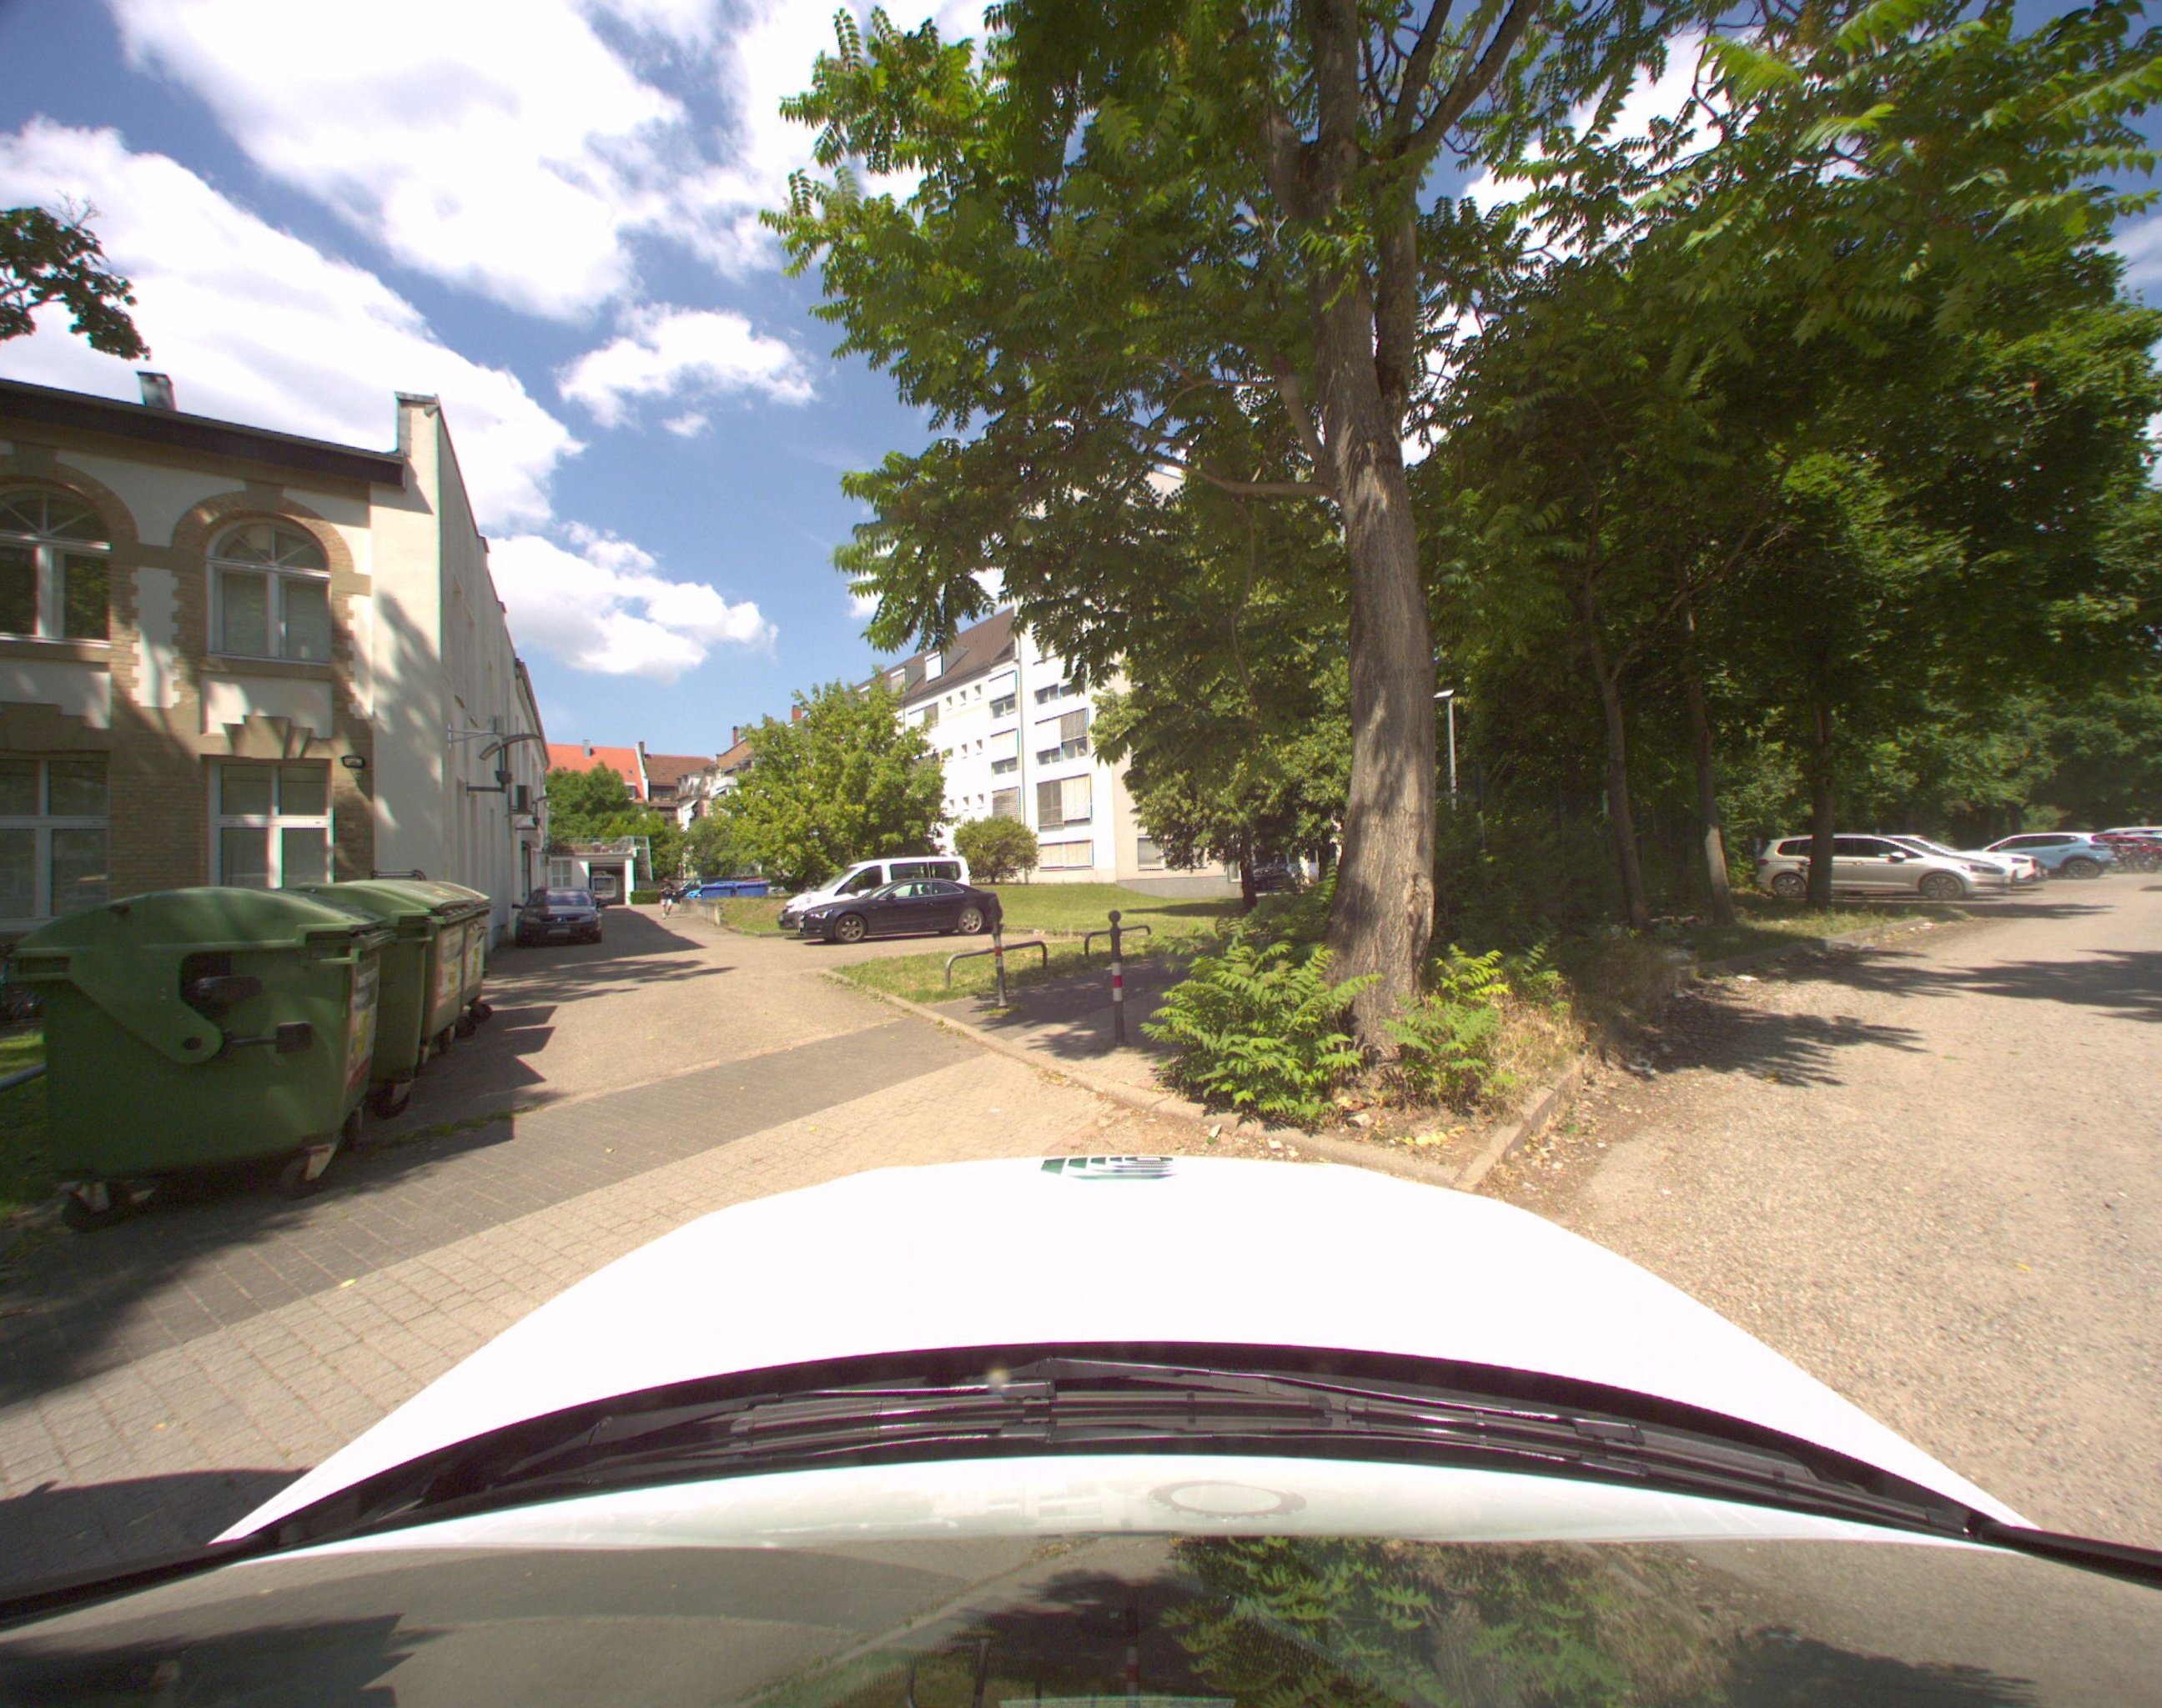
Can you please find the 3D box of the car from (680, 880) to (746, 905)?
[{"bbox_3d":[-26.229,2.693,58.020,4.016,1.534,1.785,-2,-1,-34],"label":"car"}]

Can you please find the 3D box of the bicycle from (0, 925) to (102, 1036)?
[{"bbox_3d":[-12.237,1.427,9.289,0.609,1.082,2.238,-1,-1,-30],"label":"bicycle"}]

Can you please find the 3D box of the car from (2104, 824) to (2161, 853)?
[{"bbox_3d":[63.668,-0.944,47.688,1.732,1.598,4.474,-2,-1,-32],"label":"car"}]

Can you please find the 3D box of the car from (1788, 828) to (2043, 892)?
[{"bbox_3d":[22.107,0.189,21.786,1.732,1.531,4.474,-1,-1,-32],"label":"car"}]

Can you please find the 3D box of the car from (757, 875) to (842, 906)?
[{"bbox_3d":[-15.213,1.954,44.009,4.016,1.478,1.785,-1,-1,-34],"label":"car"}]

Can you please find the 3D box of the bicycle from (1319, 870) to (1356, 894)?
[{"bbox_3d":[12.403,1.326,39.310,1.947,1.084,0.595,-1,-1,-34],"label":"bicycle"}]

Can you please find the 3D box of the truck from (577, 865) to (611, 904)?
[{"bbox_3d":[-38.650,2.444,64.622,1.802,2.937,4.600,-1,-2,-37],"label":"truck"}]

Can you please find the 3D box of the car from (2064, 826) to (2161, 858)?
[{"bbox_3d":[54.921,-0.637,42.441,1.732,1.547,4.474,-2,-1,-32],"label":"car"}]

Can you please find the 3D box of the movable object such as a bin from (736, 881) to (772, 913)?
[{"bbox_3d":[-14.334,1.883,35.676,1.225,1.327,1.148,-2,-1,-34],"label":"movable object such as a bin"}]

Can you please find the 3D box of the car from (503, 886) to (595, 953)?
[{"bbox_3d":[-13.451,1.570,20.793,1.766,1.430,4.343,-1,-1,-31],"label":"car"}]

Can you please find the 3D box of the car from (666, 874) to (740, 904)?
[{"bbox_3d":[-28.036,2.576,60.446,4.711,1.958,2.055,-2,-1,-34],"label":"car"}]

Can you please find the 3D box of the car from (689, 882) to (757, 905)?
[{"bbox_3d":[-24.453,2.677,55.651,4.016,1.390,1.785,-2,-1,-34],"label":"car"}]

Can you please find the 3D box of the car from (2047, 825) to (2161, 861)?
[{"bbox_3d":[50.598,-0.552,39.564,1.732,1.598,4.474,-2,-1,-32],"label":"car"}]

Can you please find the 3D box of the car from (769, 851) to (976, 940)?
[{"bbox_3d":[-5.360,1.005,21.136,4.792,2.014,1.979,-1,-2,-32],"label":"car"}]

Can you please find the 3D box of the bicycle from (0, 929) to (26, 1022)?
[{"bbox_3d":[-12.804,1.451,8.982,0.609,1.082,2.238,-1,-1,-30],"label":"bicycle"}]

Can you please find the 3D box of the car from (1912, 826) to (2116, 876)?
[{"bbox_3d":[32.697,-0.062,28.694,1.732,1.598,4.474,-2,-1,-32],"label":"car"}]

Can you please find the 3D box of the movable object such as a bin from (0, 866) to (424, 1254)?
[{"bbox_3d":[-4.153,0.834,4.085,1.213,1.479,1.311,-2,-1,-35],"label":"movable object such as a bin"}]

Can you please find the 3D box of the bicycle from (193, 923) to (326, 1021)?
[{"bbox_3d":[-10.396,1.440,10.401,0.609,0.958,2.238,-1,-1,-30],"label":"bicycle"}]

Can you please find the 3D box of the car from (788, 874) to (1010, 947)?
[{"bbox_3d":[-4.115,1.214,18.708,4.643,1.352,1.815,-1,-1,-32],"label":"car"}]

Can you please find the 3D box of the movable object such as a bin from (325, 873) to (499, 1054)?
[{"bbox_3d":[-6.249,0.944,7.719,1.051,1.479,1.396,-2,-1,-31],"label":"movable object such as a bin"}]

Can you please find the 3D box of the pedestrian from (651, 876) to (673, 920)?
[{"bbox_3d":[-17.425,1.825,33.869,0.762,1.755,0.744,-1,-1,-31],"label":"pedestrian"}]

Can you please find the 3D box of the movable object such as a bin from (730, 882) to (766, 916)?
[{"bbox_3d":[-13.907,1.856,34.023,1.224,1.327,1.149,-2,-1,-30],"label":"movable object such as a bin"}]

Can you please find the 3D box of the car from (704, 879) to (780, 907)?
[{"bbox_3d":[-20.848,2.393,50.161,4.016,1.478,1.785,-2,-1,-34],"label":"car"}]

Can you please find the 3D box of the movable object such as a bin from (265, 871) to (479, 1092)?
[{"bbox_3d":[-5.503,0.905,6.443,1.051,1.479,1.249,-2,-1,-31],"label":"movable object such as a bin"}]

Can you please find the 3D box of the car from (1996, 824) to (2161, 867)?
[{"bbox_3d":[42.087,-0.334,34.294,1.732,1.598,4.474,-2,-1,-32],"label":"car"}]

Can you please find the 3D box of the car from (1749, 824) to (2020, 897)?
[{"bbox_3d":[19.944,0.214,20.449,2.006,1.609,4.475,1,-2,-31],"label":"car"}]

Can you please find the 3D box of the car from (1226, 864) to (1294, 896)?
[{"bbox_3d":[10.218,1.472,46.356,3.641,1.621,1.656,-1,-1,-32],"label":"car"}]

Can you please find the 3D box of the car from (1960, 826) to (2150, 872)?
[{"bbox_3d":[37.700,-0.154,31.657,1.943,1.598,4.475,-1,-1,-32],"label":"car"}]

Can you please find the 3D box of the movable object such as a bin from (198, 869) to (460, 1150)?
[{"bbox_3d":[-4.795,0.868,5.265,1.102,1.479,1.343,-1,-1,-42],"label":"movable object such as a bin"}]

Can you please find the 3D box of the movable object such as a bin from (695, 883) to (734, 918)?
[{"bbox_3d":[-14.999,1.900,33.308,1.347,1.327,1.149,-2,-1,-30],"label":"movable object such as a bin"}]
